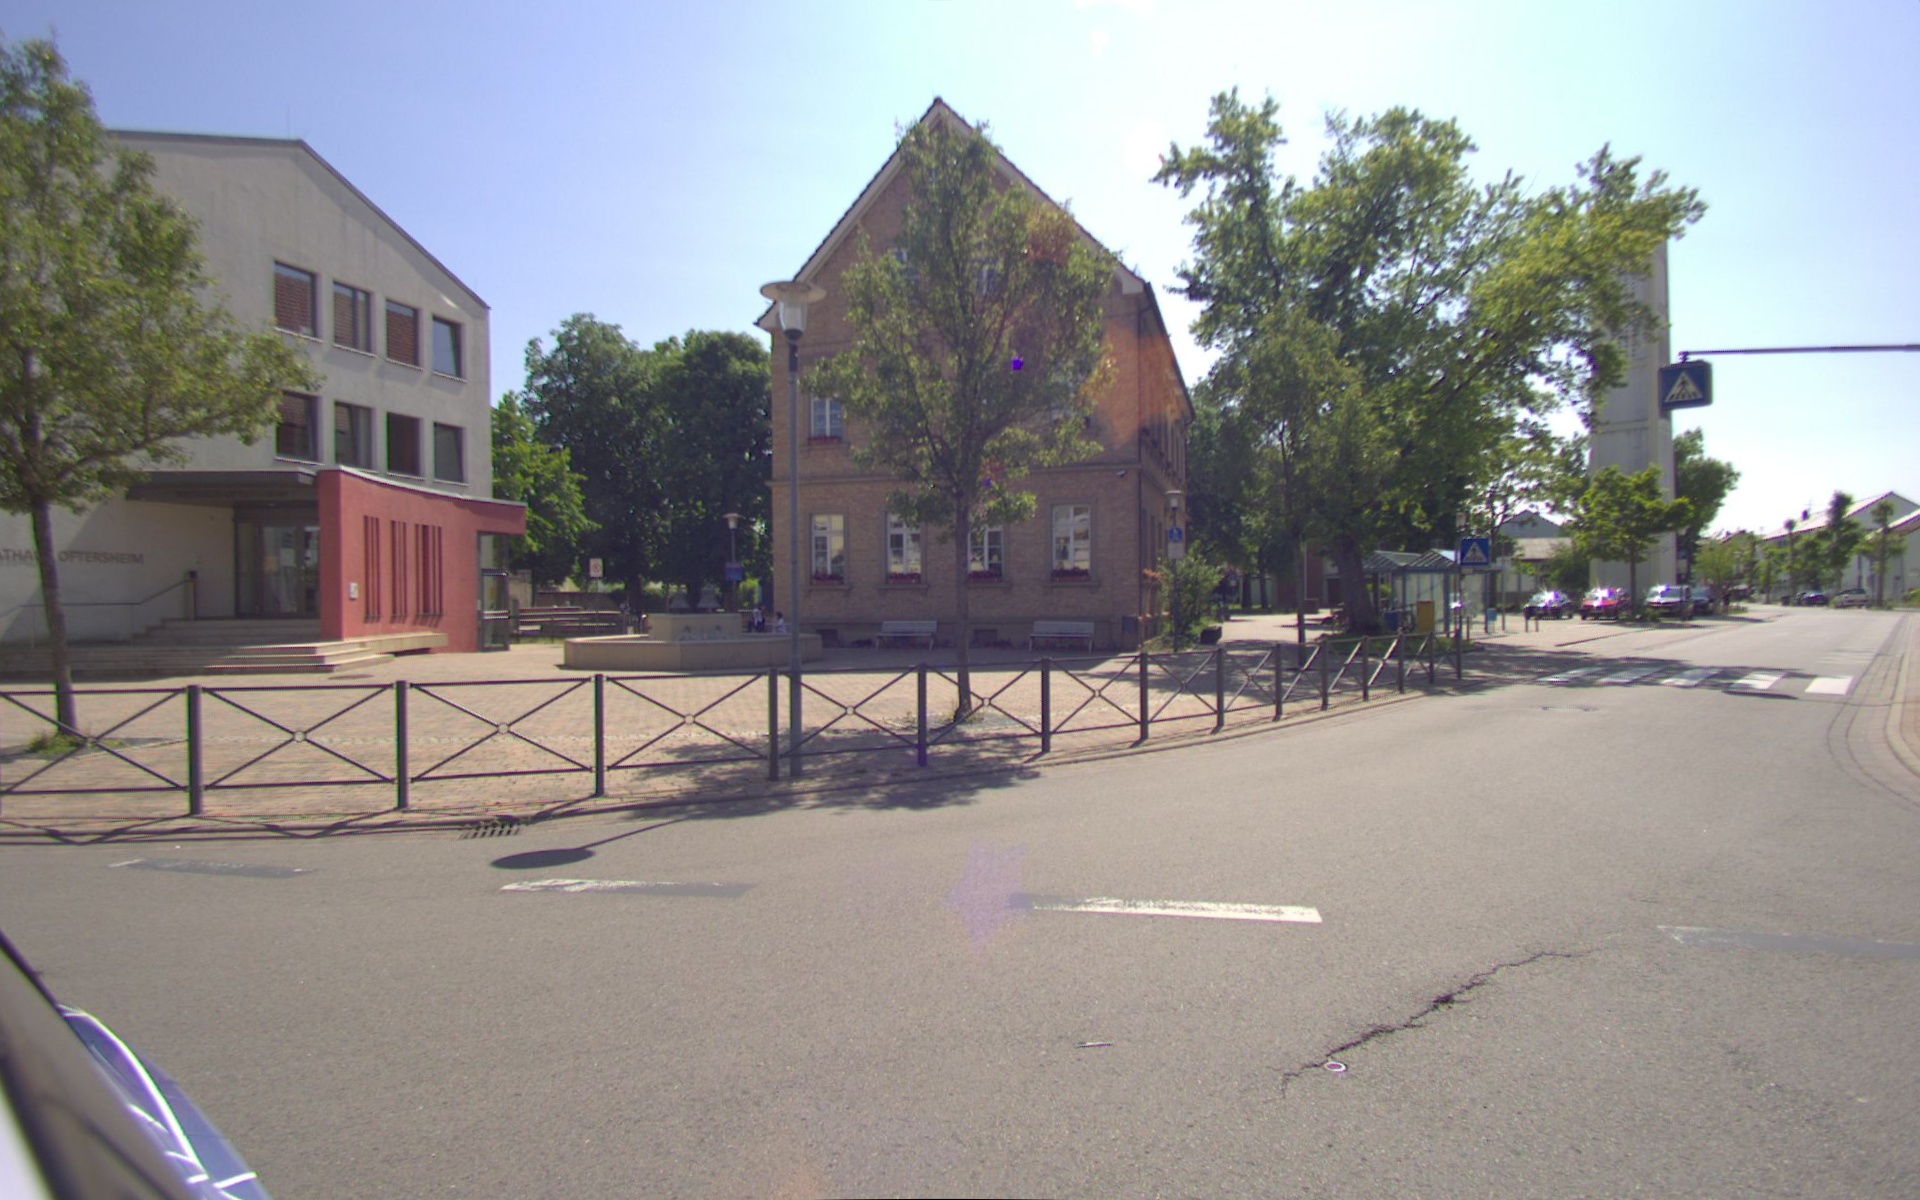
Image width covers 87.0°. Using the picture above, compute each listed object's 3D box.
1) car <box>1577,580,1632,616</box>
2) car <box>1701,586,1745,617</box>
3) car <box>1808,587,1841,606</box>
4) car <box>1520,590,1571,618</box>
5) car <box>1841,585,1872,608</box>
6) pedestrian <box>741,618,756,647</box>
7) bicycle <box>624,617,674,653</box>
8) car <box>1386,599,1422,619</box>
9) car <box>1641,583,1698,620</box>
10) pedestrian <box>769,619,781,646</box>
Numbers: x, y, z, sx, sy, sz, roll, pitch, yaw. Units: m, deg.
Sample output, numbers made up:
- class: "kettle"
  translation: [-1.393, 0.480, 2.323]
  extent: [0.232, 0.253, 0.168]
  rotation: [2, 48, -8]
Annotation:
- class: "car"
  translation: [34.400, -0.086, 53.974]
  extent: [1.782, 1.807, 3.943]
  rotation: [-1, -1, 43]
- class: "car"
  translation: [42.014, 0.100, 55.724]
  extent: [1.780, 1.658, 3.948]
  rotation: [-1, -1, 39]
- class: "car"
  translation: [80.239, -0.318, 93.974]
  extent: [1.777, 1.705, 3.955]
  rotation: [-1, -1, 33]
- class: "car"
  translation: [32.073, 0.247, 55.384]
  extent: [1.651, 1.479, 3.725]
  rotation: [-1, -1, 43]
- class: "car"
  translation: [73.024, -0.239, 82.388]
  extent: [1.782, 1.794, 3.943]
  rotation: [-1, -1, 43]
- class: "pedestrian"
  translation: [-6.067, 0.918, 29.011]
  extent: [0.362, 0.824, 0.361]
  rotation: [0, -1, 0]
- class: "bicycle"
  translation: [-10.029, 1.111, 32.712]
  extent: [0.575, 1.013, 1.945]
  rotation: [-1, 2, 15]
- class: "car"
  translation: [26.490, 0.518, 60.337]
  extent: [1.581, 1.157, 3.046]
  rotation: [-1, -1, 30]
- class: "car"
  translation: [36.365, 0.056, 51.850]
  extent: [1.782, 1.807, 3.942]
  rotation: [0, 0, 44]
- class: "pedestrian"
  translation: [-5.265, 0.923, 28.841]
  extent: [0.285, 0.738, 0.357]
  rotation: [0, -1, 0]
